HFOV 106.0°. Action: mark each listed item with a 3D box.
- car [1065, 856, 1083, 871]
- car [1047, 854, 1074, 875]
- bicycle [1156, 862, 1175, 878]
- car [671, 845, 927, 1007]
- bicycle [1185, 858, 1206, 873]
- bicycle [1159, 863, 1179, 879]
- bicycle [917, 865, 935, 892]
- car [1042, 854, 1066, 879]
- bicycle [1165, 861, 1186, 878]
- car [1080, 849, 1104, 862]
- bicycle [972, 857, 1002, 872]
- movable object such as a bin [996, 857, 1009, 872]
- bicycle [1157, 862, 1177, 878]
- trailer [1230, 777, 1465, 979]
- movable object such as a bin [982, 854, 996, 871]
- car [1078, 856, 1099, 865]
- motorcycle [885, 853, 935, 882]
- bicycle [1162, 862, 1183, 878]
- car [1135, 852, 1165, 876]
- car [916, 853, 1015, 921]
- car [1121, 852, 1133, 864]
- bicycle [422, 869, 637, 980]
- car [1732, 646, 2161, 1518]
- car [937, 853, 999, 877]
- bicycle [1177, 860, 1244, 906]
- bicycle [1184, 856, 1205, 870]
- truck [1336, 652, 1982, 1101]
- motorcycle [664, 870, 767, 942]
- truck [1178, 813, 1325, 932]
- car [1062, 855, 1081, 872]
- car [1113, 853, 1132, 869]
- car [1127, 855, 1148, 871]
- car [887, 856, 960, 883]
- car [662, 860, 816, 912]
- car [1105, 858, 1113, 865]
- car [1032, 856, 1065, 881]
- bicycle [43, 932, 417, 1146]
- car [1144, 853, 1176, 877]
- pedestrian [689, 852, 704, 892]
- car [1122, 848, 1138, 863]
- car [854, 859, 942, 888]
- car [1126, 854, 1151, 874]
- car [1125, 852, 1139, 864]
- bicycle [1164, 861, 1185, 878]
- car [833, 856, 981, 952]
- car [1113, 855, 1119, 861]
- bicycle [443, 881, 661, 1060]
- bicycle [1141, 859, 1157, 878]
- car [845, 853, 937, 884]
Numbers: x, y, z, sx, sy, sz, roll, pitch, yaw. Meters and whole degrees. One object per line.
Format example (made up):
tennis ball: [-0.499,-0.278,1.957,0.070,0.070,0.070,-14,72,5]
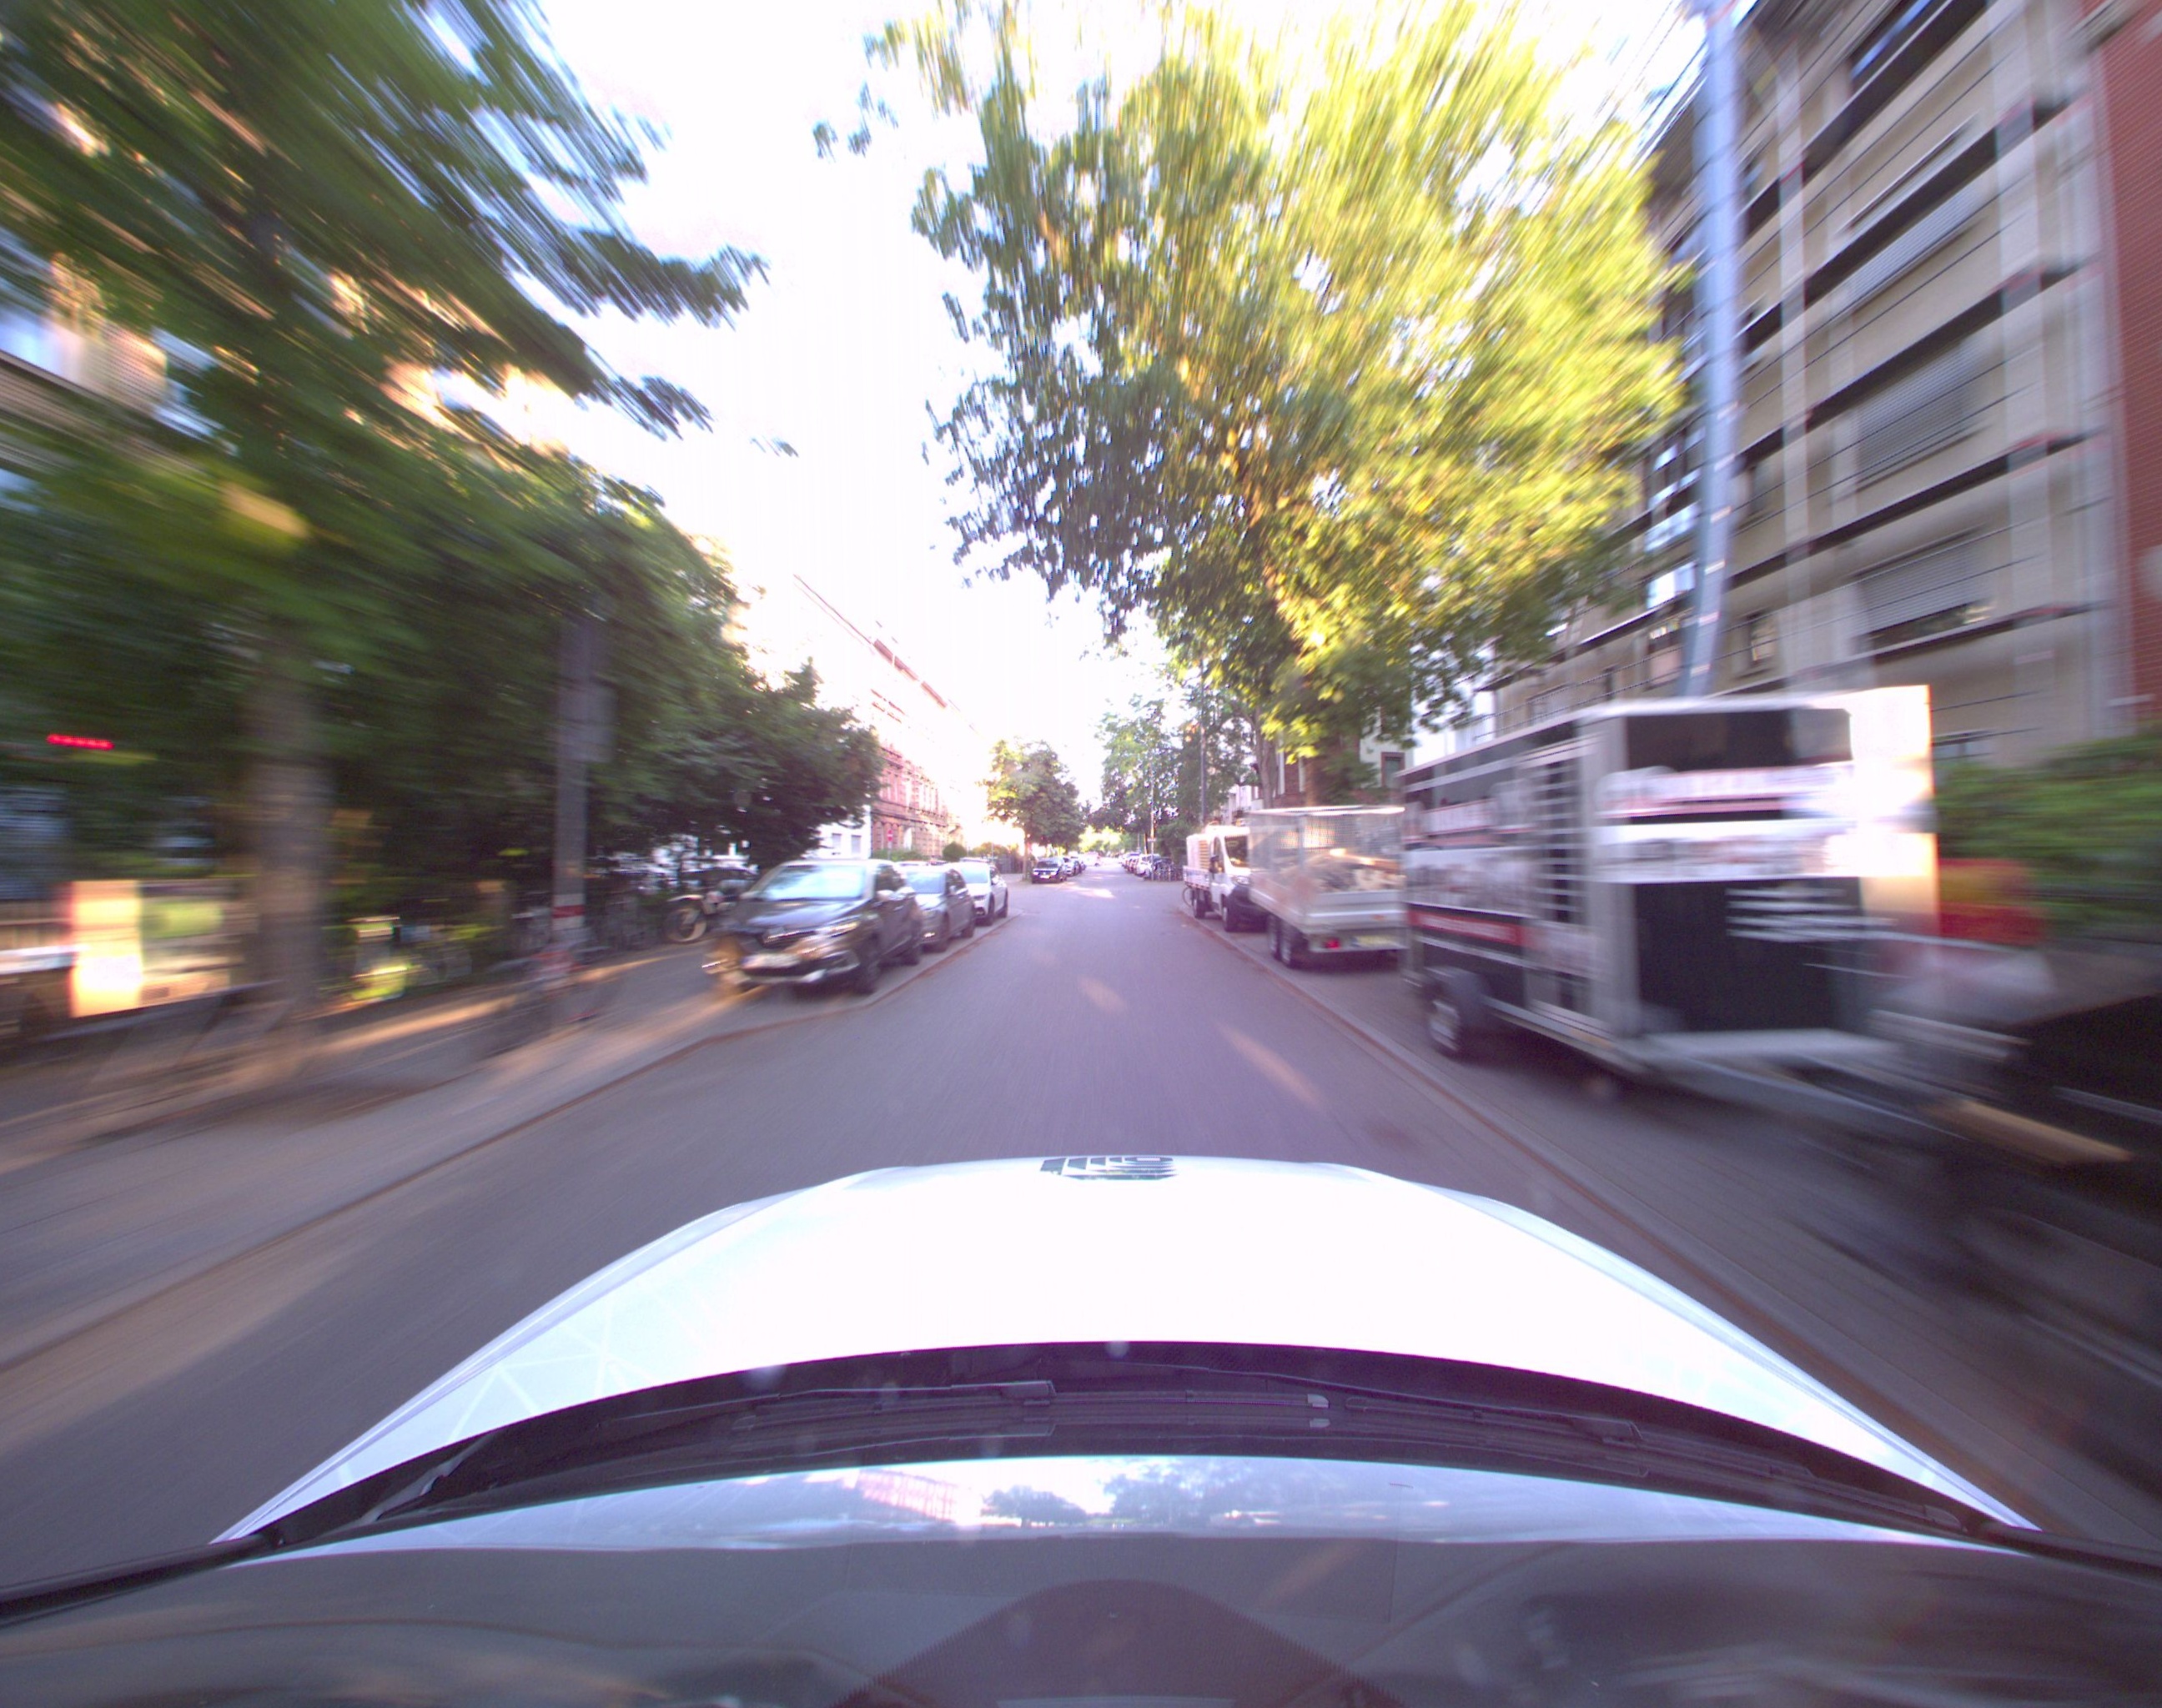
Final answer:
car: [-0.709,0.991,87.334,1.709,1.596,4.521,-1,0,2]
car: [-1.656,0.831,66.974,1.914,1.717,4.429,-1,0,2]
bicycle: [5.420,1.015,52.314,1.230,0.951,0.327,-2,1,-26]
car: [-3.214,0.705,10.284,1.684,1.563,4.401,1,0,-1]
bicycle: [8.678,0.872,61.942,1.504,1.034,0.330,-2,1,-1]
bicycle: [5.529,1.040,50.997,1.228,0.957,0.328,-2,1,-21]
bicycle: [-6.983,1.106,36.600,0.338,1.181,1.862,-1,-2,-24]
car: [-1.811,0.840,55.424,1.591,1.603,3.742,-1,0,-2]
bicycle: [5.792,0.956,50.067,1.221,0.987,0.330,-2,1,-2]
car: [2.040,0.210,147.957,4.336,2.318,1.745,-1,0,0]
bicycle: [-8.209,0.935,71.295,2.515,1.192,0.645,2,0,7]
movable object such as a bin: [-7.086,0.948,73.720,1.007,1.321,1.007,1,0,6]
bicycle: [5.481,1.032,51.698,1.228,0.947,0.328,-2,1,-21]
trailer: [3.602,0.289,12.052,1.947,2.295,4.646,-4,0,1]
movable object such as a bin: [-8.321,0.770,73.579,1.097,1.414,1.001,1,0,-12]
car: [1.301,1.153,145.148,3.609,1.461,1.605,-1,0,-2]
motorcycle: [-10.217,0.810,48.535,2.835,1.638,0.677,-1,-1,9]
bicycle: [5.705,0.989,50.599,1.226,0.963,0.329,-2,1,-16]
car: [5.175,0.731,61.832,1.792,1.711,4.599,-1,-1,-1]
car: [-2.846,0.752,21.048,1.683,1.502,4.740,1,0,2]
car: [7.081,0.567,125.831,1.682,1.811,3.938,-1,-1,-1]
bicycle: [-7.406,0.886,11.134,0.600,1.284,2.499,-2,0,22]
car: [3.267,0.476,0.605,1.833,1.942,4.614,-4,0,1]
car: [-8.006,0.777,57.970,4.079,1.527,1.709,2,0,0]
bicycle: [3.923,0.870,24.702,1.899,1.258,0.406,-3,0,-4]
bicycle: [8.686,0.697,62.273,1.504,1.034,0.330,-2,1,-1]
truck: [3.766,0.104,6.609,1.947,2.246,4.647,-4,0,2]
motorcycle: [-6.961,0.940,15.725,0.580,1.156,2.893,1,1,2]
truck: [3.694,0.389,19.140,1.971,2.244,6.774,-1,-1,0]
car: [-0.878,0.943,78.471,1.709,1.566,3.789,-1,0,2]
car: [4.331,0.699,84.927,1.682,1.606,3.938,-1,-1,-1]
car: [5.313,0.839,76.869,1.680,1.441,4.211,-3,-1,1]
car: [-8.783,0.872,45.543,3.541,1.447,1.823,-1,1,10]
car: [-11.461,1.044,27.565,4.450,1.552,1.704,-2,1,-8]
car: [6.793,1.789,199.051,1.806,1.596,3.484,-1,0,2]
car: [-1.988,0.879,50.745,1.609,1.470,3.966,-1,0,4]
bicycle: [-5.171,1.052,5.134,0.414,0.929,1.736,1,0,4]
car: [5.384,0.712,56.026,1.682,1.592,3.655,-1,0,-2]
pedestrian: [-16.677,0.768,35.335,0.536,1.682,0.579,0,2,-18]
car: [6.321,0.212,105.264,1.675,1.941,3.879,-1,-1,-1]
car: [-9.627,1.010,42.962,4.065,1.447,1.823,-1,1,12]
car: [4.739,0.822,67.296,1.682,1.606,4.208,-1,-1,-1]
car: [6.311,0.486,101.438,1.534,1.521,3.430,-1,-1,-1]
bicycle: [5.716,0.969,49.678,1.220,0.987,0.330,-2,1,-1]
car: [-3.013,0.817,15.045,1.683,1.502,4.403,0,-1,1]
car: [10.578,1.184,244.577,1.709,1.596,3.484,-1,0,2]
bicycle: [-4.480,0.906,7.089,0.480,1.255,1.902,2,0,4]
bicycle: [4.378,0.937,52.561,0.439,1.173,1.646,-1,-1,27]
car: [-9.479,0.723,40.744,4.067,1.447,1.714,-1,1,10]
